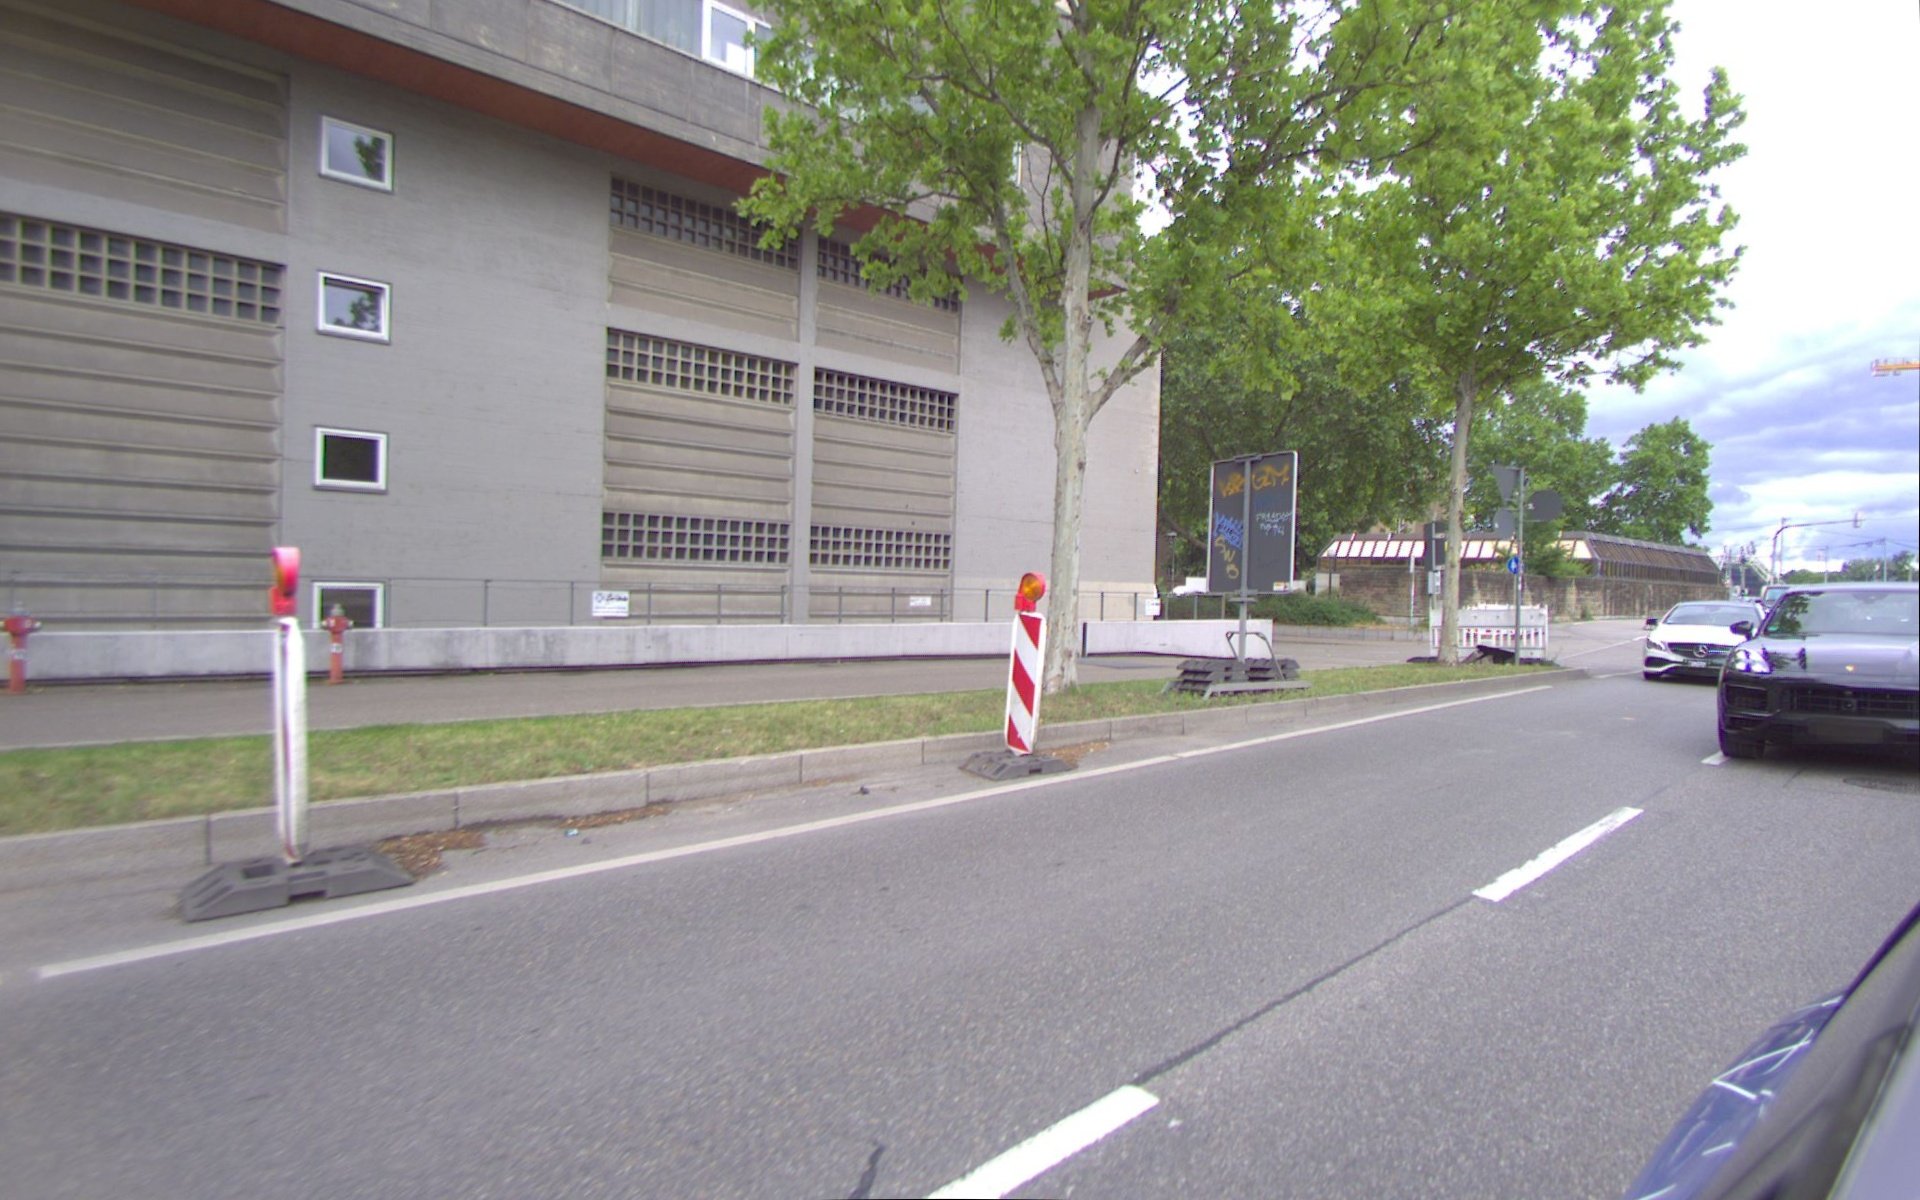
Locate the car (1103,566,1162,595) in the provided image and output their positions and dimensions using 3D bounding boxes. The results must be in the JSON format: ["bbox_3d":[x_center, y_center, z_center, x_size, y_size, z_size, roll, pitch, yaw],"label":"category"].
[{"bbox_3d":[11.401,-1.284,66.900,3.906,1.848,1.810,0,2,-43],"label":"car"}]

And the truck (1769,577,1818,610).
[{"bbox_3d":[99.405,-0.847,120.866,2.887,3.720,8.932,2,1,30],"label":"truck"}]

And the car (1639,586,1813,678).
[{"bbox_3d":[13.798,0.525,18.130,4.306,1.453,1.737,1,0,-42],"label":"car"}]

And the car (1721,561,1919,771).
[{"bbox_3d":[9.071,0.527,9.834,4.531,1.668,1.953,0,1,-44],"label":"car"}]

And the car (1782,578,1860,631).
[{"bbox_3d":[32.846,0.139,38.578,3.710,1.848,1.810,0,2,-43],"label":"car"}]
